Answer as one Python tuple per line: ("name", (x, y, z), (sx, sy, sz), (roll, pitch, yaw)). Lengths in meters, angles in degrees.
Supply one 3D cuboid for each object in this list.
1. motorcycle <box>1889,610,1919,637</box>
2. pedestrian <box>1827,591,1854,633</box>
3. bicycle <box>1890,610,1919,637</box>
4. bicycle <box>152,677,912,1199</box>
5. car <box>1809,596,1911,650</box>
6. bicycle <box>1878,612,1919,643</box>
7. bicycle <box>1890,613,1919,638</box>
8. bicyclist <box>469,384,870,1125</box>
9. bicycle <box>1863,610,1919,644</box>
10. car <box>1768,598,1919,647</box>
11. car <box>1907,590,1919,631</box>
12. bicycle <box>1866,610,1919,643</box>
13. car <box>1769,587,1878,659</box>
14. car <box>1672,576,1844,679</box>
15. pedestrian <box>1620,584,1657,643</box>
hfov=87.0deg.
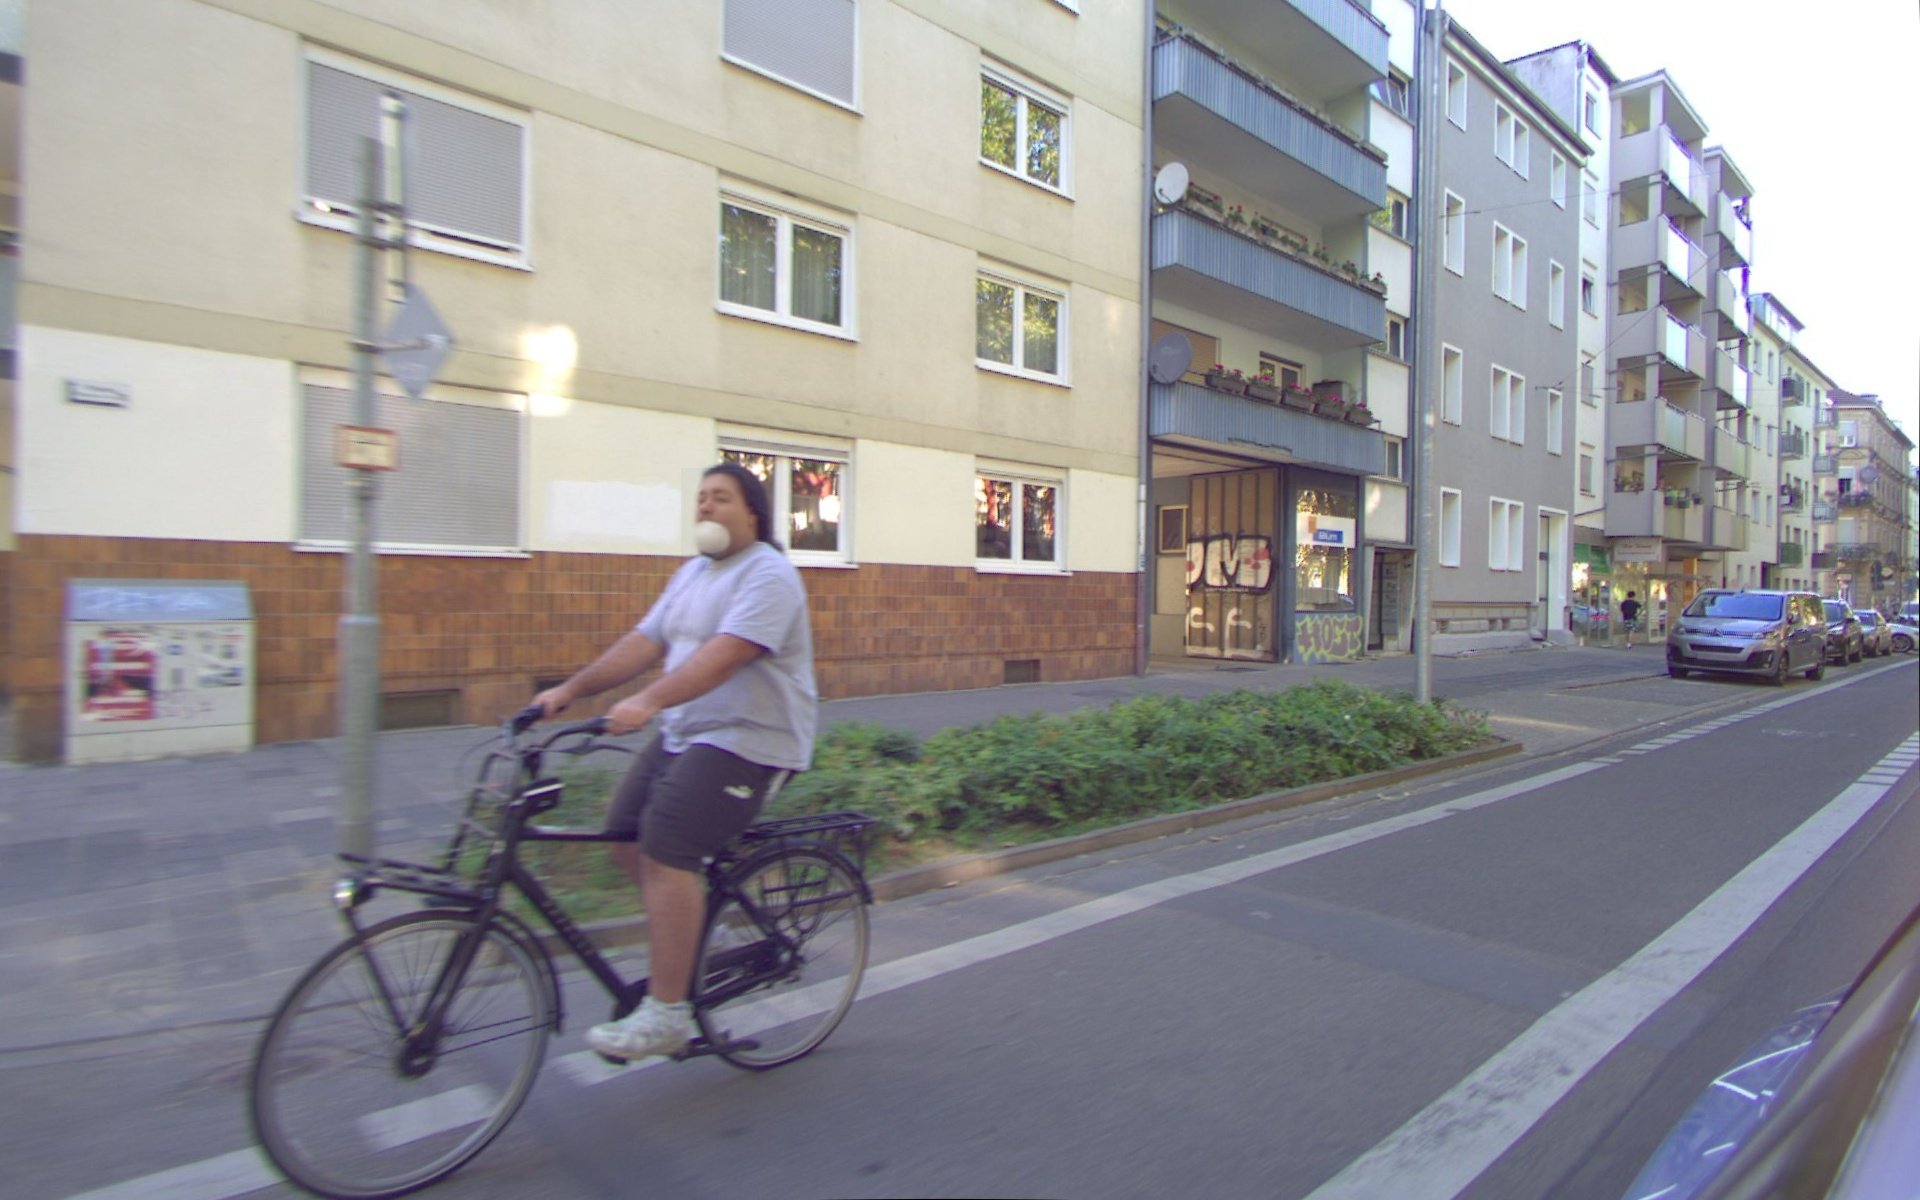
("motorcycle", (40.554, 1.010, 42.754), (0.604, 1.093, 1.829), (1, 1, -18))
("pedestrian", (39.795, 0.543, 45.762), (1.062, 1.845, 0.711), (0, 2, -40))
("bicycle", (39.853, 1.006, 42.084), (0.449, 1.068, 1.656), (1, 2, -41))
("bicycle", (-1.124, 0.853, 2.996), (1.956, 1.106, 0.702), (0, -1, -42))
("car", (27.935, 0.669, 31.383), (4.432, 1.545, 1.728), (0, 1, -40))
("bicycle", (38.255, 1.115, 40.743), (0.692, 1.162, 1.797), (1, 2, -41))
("bicycle", (39.514, 1.071, 41.713), (0.449, 0.999, 1.656), (1, 2, -41))
("bicyclist", (-0.868, 0.366, 3.030), (0.899, 1.781, 0.788), (0, 0, -42))
("bicycle", (36.711, 1.047, 39.653), (0.449, 1.206, 1.896), (1, 2, -41))
("car", (31.233, 0.751, 35.352), (4.606, 1.455, 1.839), (3, 2, 39))
("car", (46.160, 0.520, 47.632), (4.277, 1.842, 1.862), (-1, 5, -42))
("bicycle", (37.070, 1.040, 39.963), (0.449, 1.206, 1.827), (1, 2, -41))
("car", (22.935, 0.556, 26.826), (4.211, 1.726, 1.768), (0, 1, -44))
("car", (16.708, 0.513, 21.099), (4.836, 1.913, 1.862), (0, 1, -40))
("pedestrian", (20.463, 0.394, 30.521), (0.707, 1.742, 0.758), (1, 0, -39))
